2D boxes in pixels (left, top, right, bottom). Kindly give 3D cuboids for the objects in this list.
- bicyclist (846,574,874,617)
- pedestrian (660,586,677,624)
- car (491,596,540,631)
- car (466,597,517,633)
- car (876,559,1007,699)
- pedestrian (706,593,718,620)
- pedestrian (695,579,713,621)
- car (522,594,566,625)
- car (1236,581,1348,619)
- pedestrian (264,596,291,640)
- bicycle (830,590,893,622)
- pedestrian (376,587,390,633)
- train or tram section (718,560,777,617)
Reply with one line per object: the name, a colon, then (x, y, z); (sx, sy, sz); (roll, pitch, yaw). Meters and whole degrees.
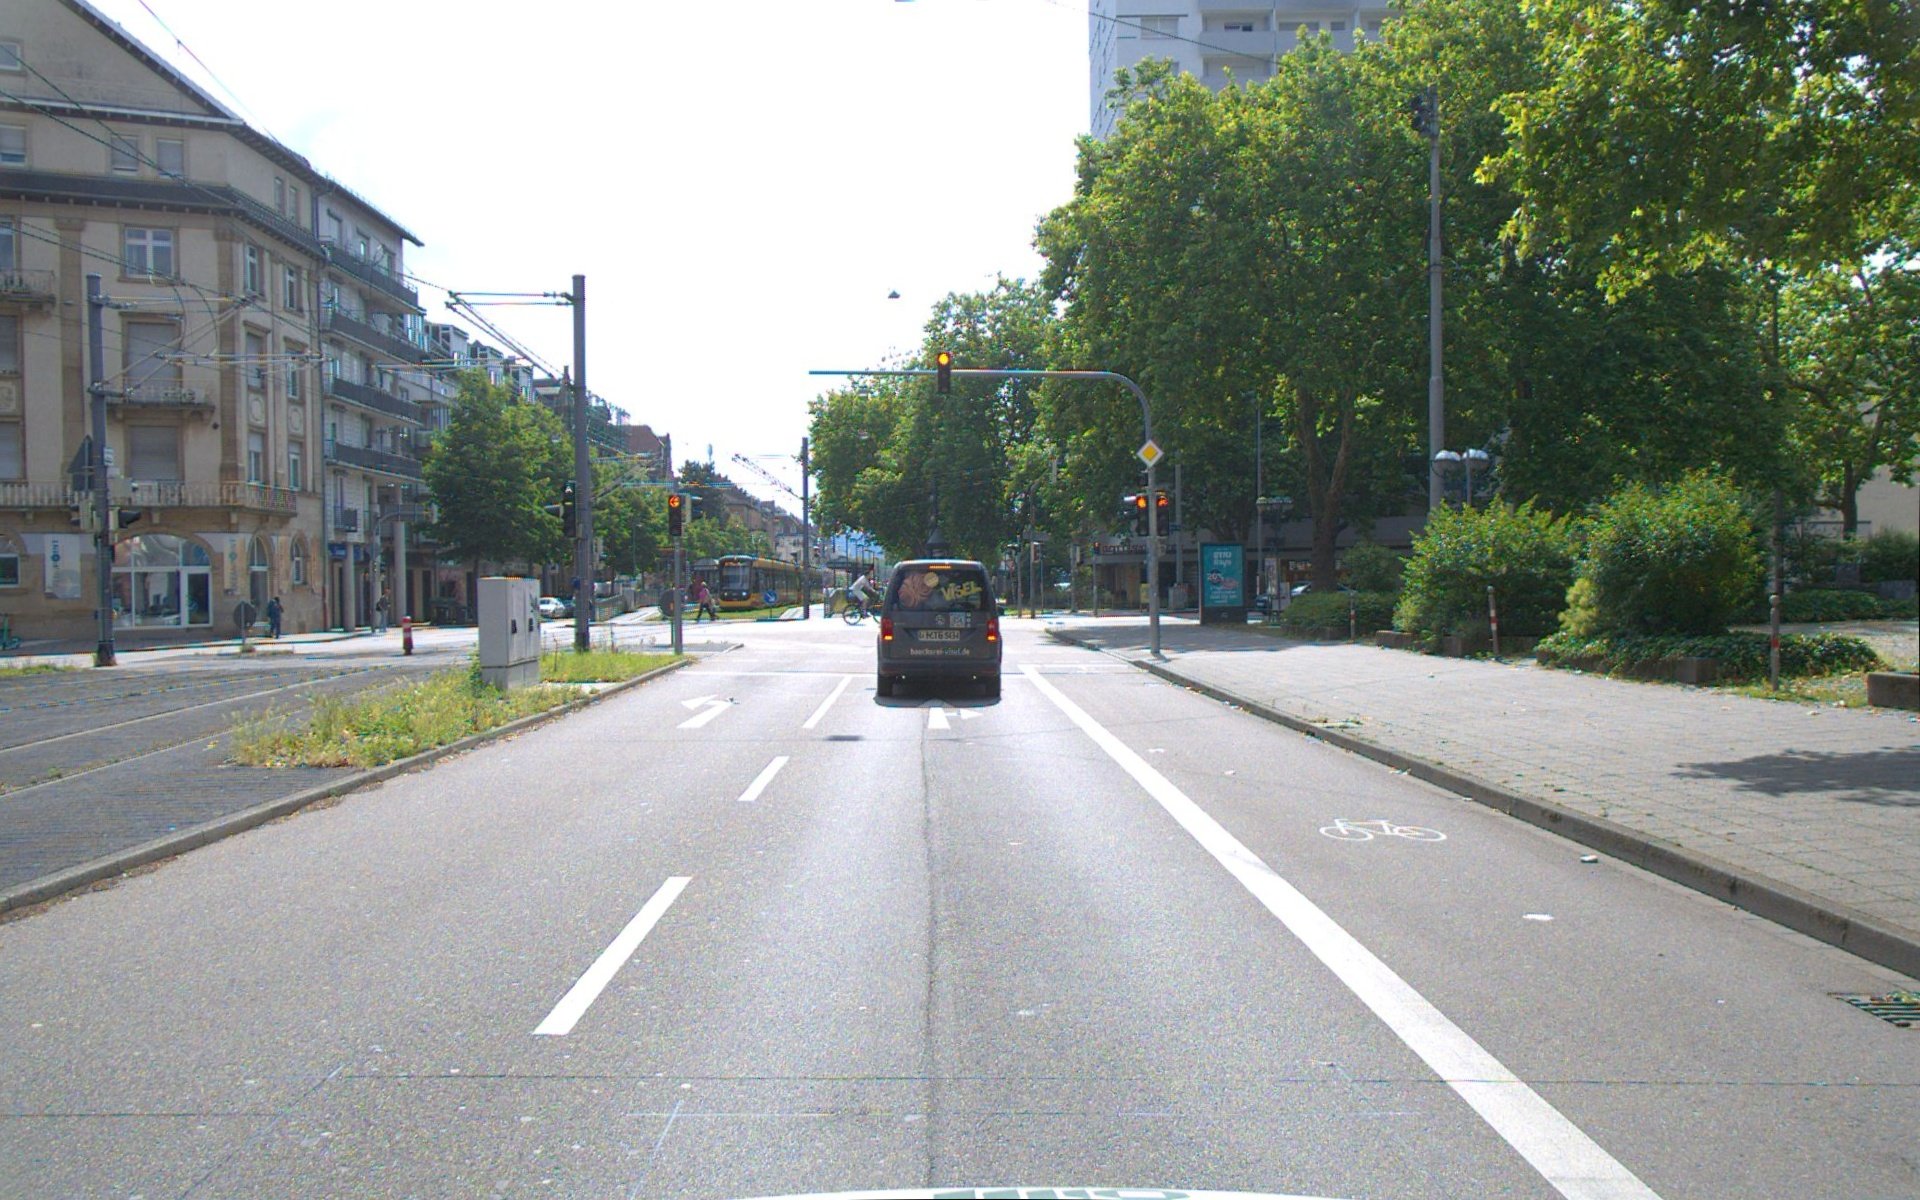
bicyclist: (-3.607, -0.160, 59.761); (0.977, 1.538, 0.780); (-1, 0, -2)
pedestrian: (-13.231, 0.215, 75.065); (0.646, 1.714, 0.655); (-1, 0, -1)
car: (-27.789, 0.823, 103.530); (1.953, 2.049, 3.999); (-1, 0, -1)
car: (-27.888, 0.865, 98.581); (1.953, 2.049, 3.999); (-1, 0, -1)
car: (-0.268, 0.369, 23.525); (1.715, 1.840, 3.474); (0, 0, -1)
pedestrian: (-11.030, 0.284, 73.671); (0.454, 1.164, 0.435); (-1, 0, -1)
pedestrian: (-11.320, 0.000, 73.066); (0.646, 1.815, 0.660); (-1, 0, -1)
car: (-28.141, 0.626, 112.029); (1.953, 2.049, 3.999); (-1, 0, -1)
car: (13.675, -0.012, 68.080); (4.424, 1.414, 1.693); (-2, 0, -25)
pedestrian: (-25.698, 0.654, 62.270); (0.678, 1.623, 0.861); (-1, 0, -5)
bicycle: (-3.546, 0.209, 59.760); (2.255, 1.066, 0.896); (-1, 1, -3)
pedestrian: (-25.758, 0.440, 73.846); (0.468, 2.049, 0.419); (-1, 0, -6)
train or tram section: (-13.534, -0.777, 106.085); (2.195, 3.389, 12.969); (-1, 1, -1)
